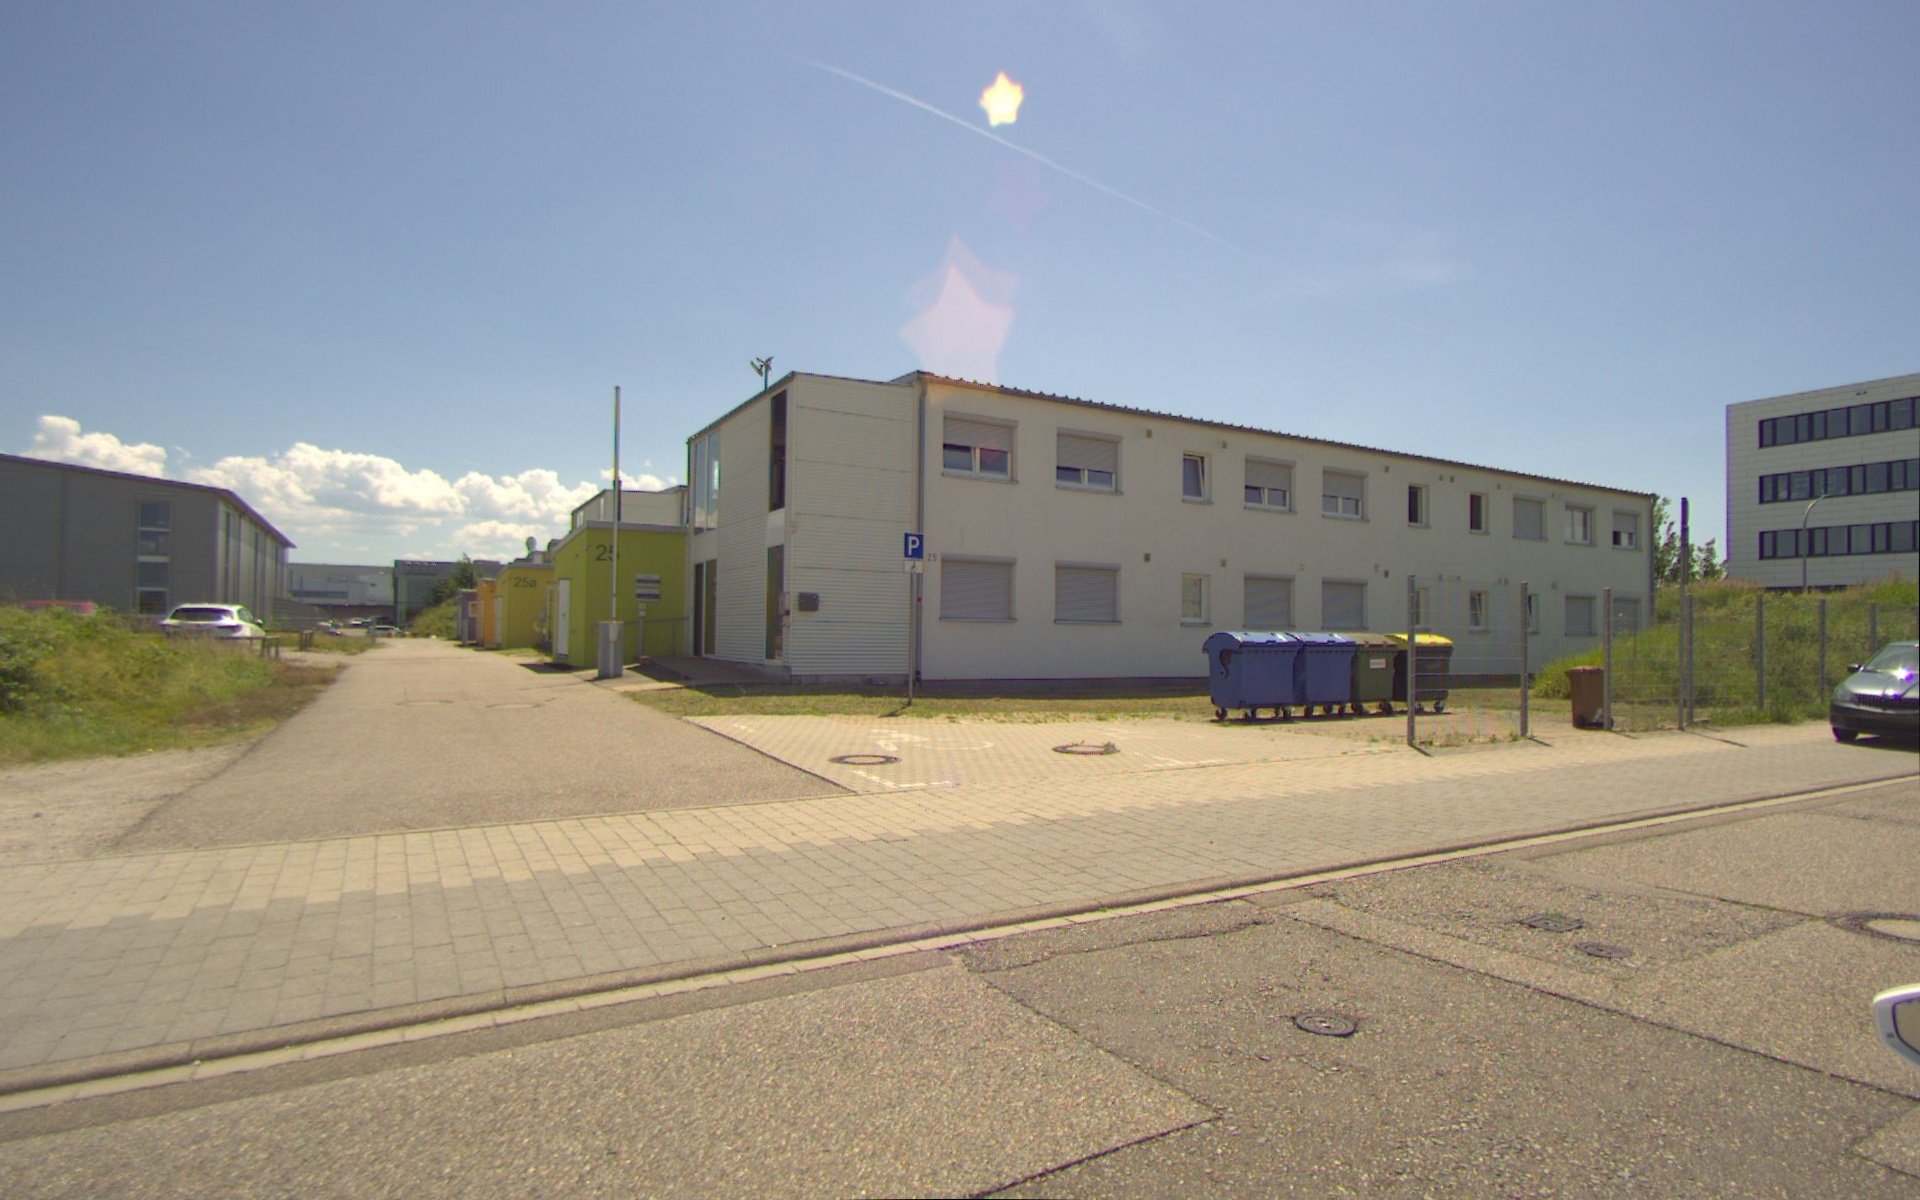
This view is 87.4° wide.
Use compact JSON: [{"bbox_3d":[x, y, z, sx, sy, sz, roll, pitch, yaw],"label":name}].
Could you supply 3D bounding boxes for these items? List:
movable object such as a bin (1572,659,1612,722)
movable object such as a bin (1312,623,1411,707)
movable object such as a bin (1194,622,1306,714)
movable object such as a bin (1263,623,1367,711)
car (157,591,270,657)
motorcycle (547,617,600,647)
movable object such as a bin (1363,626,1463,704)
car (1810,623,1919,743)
[{"bbox_3d":[9.768,1.390,15.527,0.490,0.952,0.303,2,-1,-28],"label":"movable object such as a bin"},{"bbox_3d":[7.433,1.185,18.606,1.373,1.467,1.082,2,-1,-31],"label":"movable object such as a bin"},{"bbox_3d":[4.894,1.132,17.002,1.416,1.467,1.139,2,-1,-27],"label":"movable object such as a bin"},{"bbox_3d":[6.276,1.161,17.782,1.354,1.467,1.120,2,-1,-27],"label":"movable object such as a bin"},{"bbox_3d":[-18.166,0.539,24.598,1.718,1.417,3.861,2,0,-30],"label":"car"},{"bbox_3d":[-13.151,1.090,34.179,1.601,0.977,0.369,2,0,-7],"label":"motorcycle"},{"bbox_3d":[8.685,1.233,19.291,1.370,1.423,1.138,2,-1,-28],"label":"movable object such as a bin"},{"bbox_3d":[14.169,1.174,14.535,3.864,1.550,1.666,2,-1,-31],"label":"car"}]
